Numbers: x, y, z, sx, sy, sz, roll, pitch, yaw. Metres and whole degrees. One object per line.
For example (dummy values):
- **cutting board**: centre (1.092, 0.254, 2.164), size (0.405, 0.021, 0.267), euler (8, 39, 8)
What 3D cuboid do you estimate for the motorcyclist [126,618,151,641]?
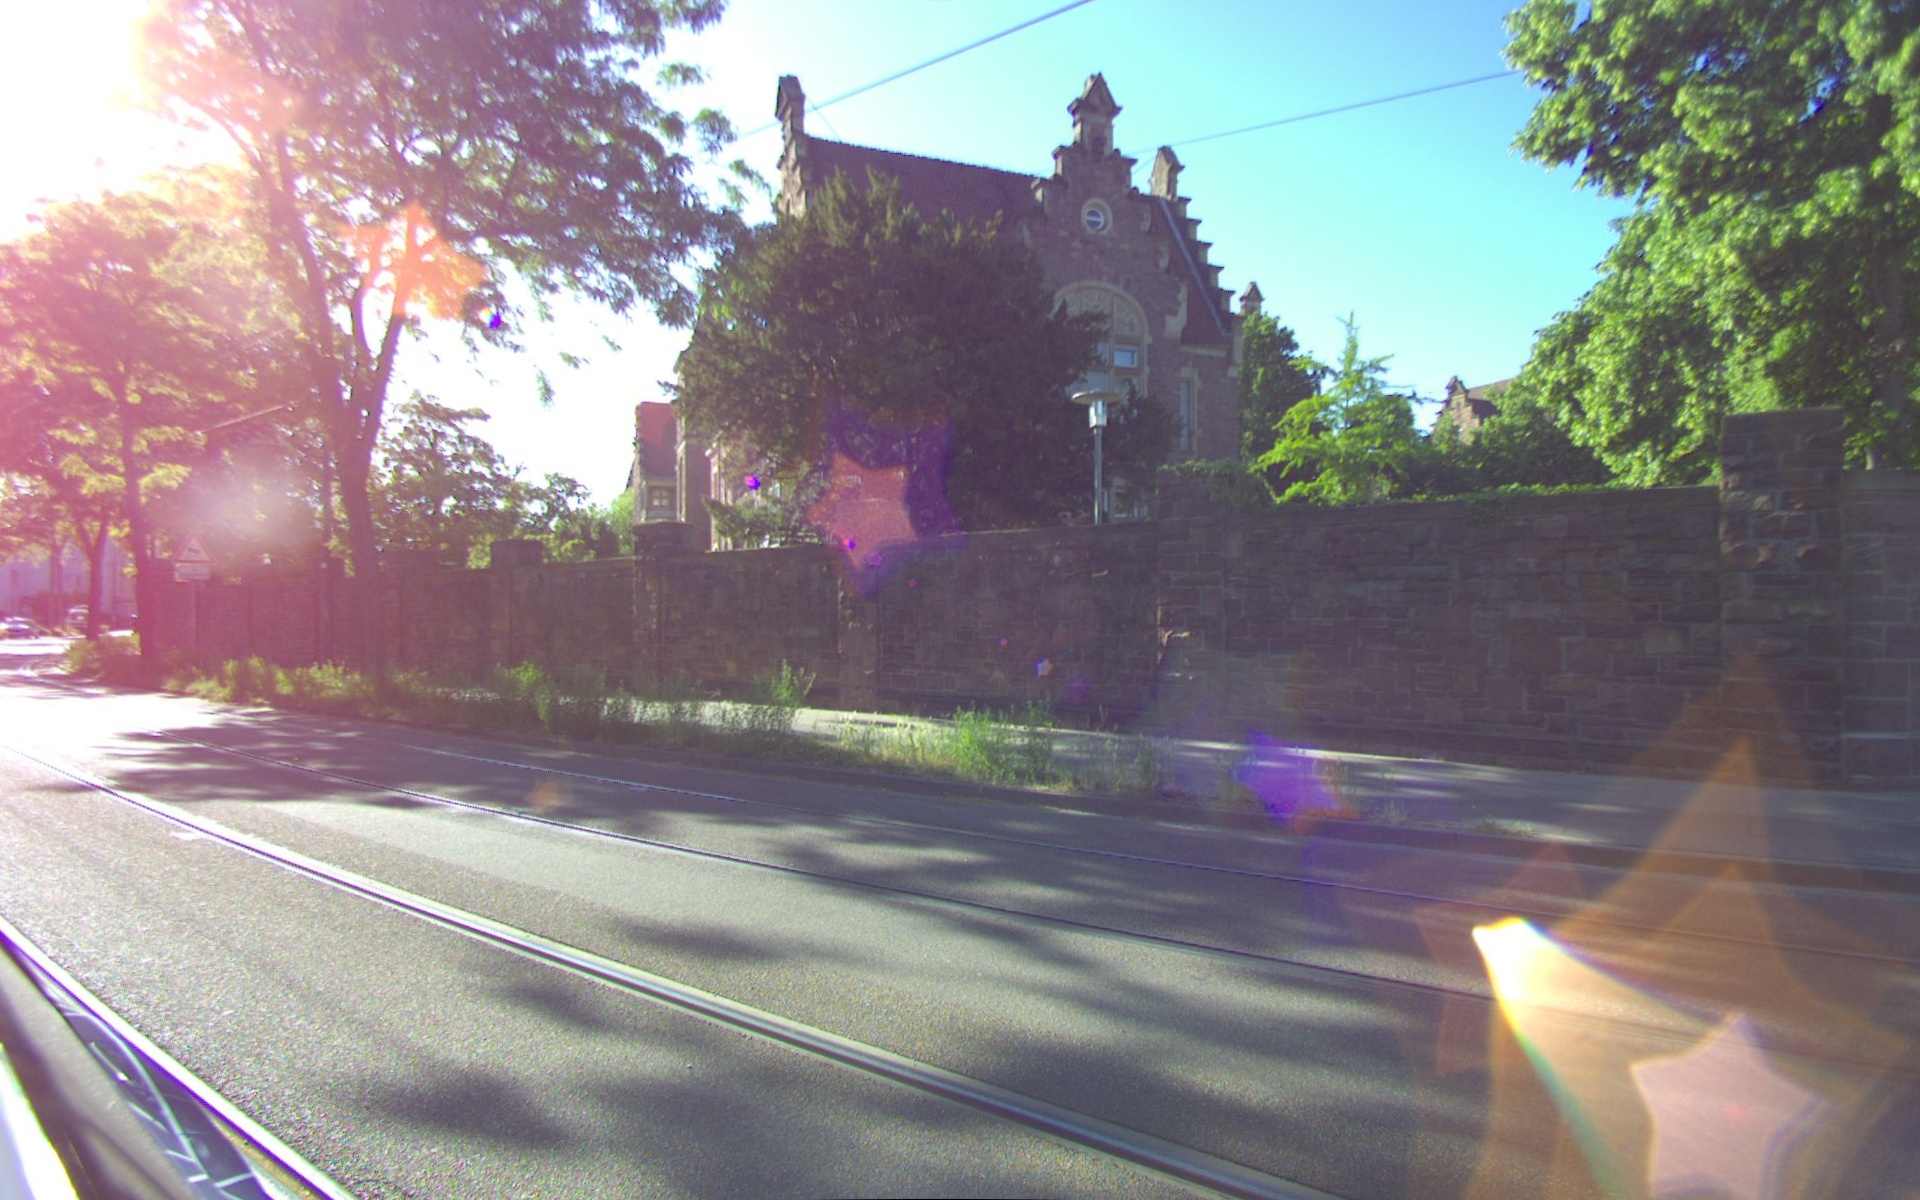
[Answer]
- **motorcyclist**: centre (-52.179, 1.867, 64.293), size (0.878, 1.393, 0.909), euler (-1, -1, -6)

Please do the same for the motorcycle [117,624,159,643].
- **motorcycle**: centre (-52.184, 2.133, 64.265), size (0.900, 1.162, 2.432), euler (-1, -1, -7)
